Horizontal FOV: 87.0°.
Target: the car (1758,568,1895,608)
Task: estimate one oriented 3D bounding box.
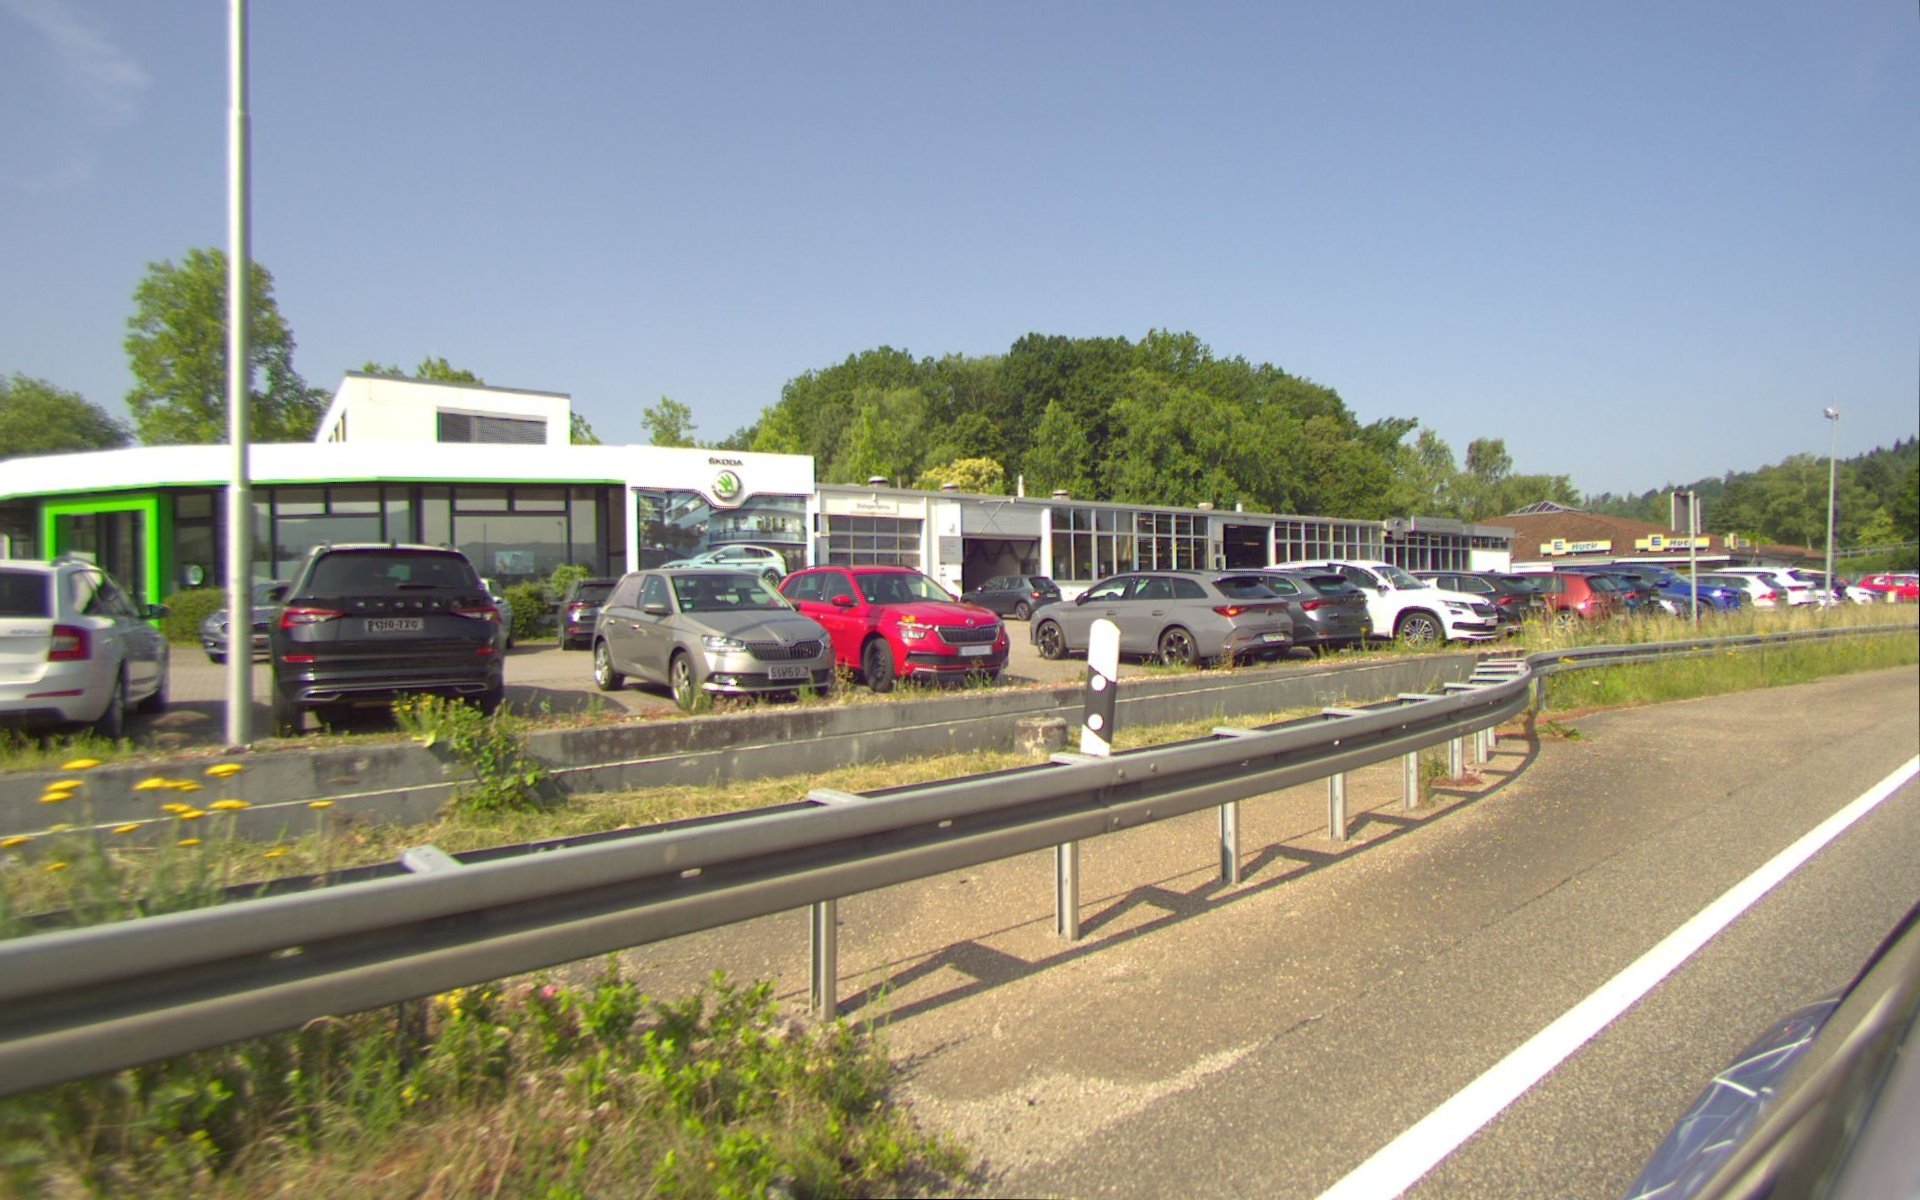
[{"bbox_3d":[35.787,-0.526,41.866,1.772,1.571,4.000,-1,2,-36],"label":"car"}]

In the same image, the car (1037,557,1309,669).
[{"bbox_3d":[3.138,0.148,15.471,1.715,1.477,3.844,-1,1,-41],"label":"car"}]

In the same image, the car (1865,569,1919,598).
[{"bbox_3d":[49.254,-0.872,52.201,1.771,1.482,3.549,-1,2,-36],"label":"car"}]

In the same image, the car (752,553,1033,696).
[{"bbox_3d":[-1.043,0.214,13.288,1.748,1.571,4.095,-1,1,-37],"label":"car"}]

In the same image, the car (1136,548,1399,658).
[{"bbox_3d":[5.118,0.019,17.316,1.885,1.652,3.999,-1,1,-36],"label":"car"}]

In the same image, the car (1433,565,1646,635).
[{"bbox_3d":[12.826,-0.027,22.561,1.790,1.424,3.740,-1,1,-38],"label":"car"}]

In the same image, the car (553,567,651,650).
[{"bbox_3d":[-7.799,0.103,21.799,1.753,1.584,4.731,0,1,-22],"label":"car"}]

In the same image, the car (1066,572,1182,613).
[{"bbox_3d":[6.171,-0.335,38.531,1.759,1.482,4.320,-1,2,-39],"label":"car"}]

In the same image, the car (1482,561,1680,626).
[{"bbox_3d":[15.001,-0.162,24.586,1.747,1.446,3.743,-1,1,-38],"label":"car"}]

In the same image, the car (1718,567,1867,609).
[{"bbox_3d":[33.077,-0.498,40.287,1.996,1.571,4.293,-1,2,-39],"label":"car"}]

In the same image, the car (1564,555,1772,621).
[{"bbox_3d":[19.478,-0.338,28.016,1.914,1.660,4.369,-1,1,-36],"label":"car"}]

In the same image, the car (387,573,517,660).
[{"bbox_3d":[-9.959,0.223,20.150,1.753,1.507,4.732,0,1,-20],"label":"car"}]

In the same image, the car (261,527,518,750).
[{"bbox_3d":[-5.604,0.244,9.796,1.804,1.684,3.893,-1,1,-33],"label":"car"}]

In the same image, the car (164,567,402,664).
[{"bbox_3d":[-12.192,0.194,18.620,1.755,1.584,4.361,0,1,-5],"label":"car"}]

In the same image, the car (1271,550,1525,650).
[{"bbox_3d":[8.057,-0.036,18.938,1.884,1.652,4.002,-1,1,-33],"label":"car"}]

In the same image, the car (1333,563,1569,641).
[{"bbox_3d":[10.098,0.008,21.052,1.915,1.470,3.997,-1,1,-38],"label":"car"}]

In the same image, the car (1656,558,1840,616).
[{"bbox_3d":[23.916,-0.418,30.853,1.844,1.637,4.060,-1,2,-34],"label":"car"}]

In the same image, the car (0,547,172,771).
[{"bbox_3d":[-7.797,0.364,8.353,1.689,1.504,4.051,-1,1,-33],"label":"car"}]

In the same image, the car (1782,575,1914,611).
[{"bbox_3d":[38.223,-0.328,43.639,1.842,1.482,4.000,-1,2,-36],"label":"car"}]

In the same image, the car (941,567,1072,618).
[{"bbox_3d":[1.508,-0.290,33.938,4.310,1.584,1.762,1,2,44],"label":"car"}]

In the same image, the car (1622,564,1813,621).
[{"bbox_3d":[21.656,-0.251,29.081,1.772,1.526,4.054,-1,2,-34],"label":"car"}]

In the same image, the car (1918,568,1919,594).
[{"bbox_3d":[56.720,-1.035,56.835,1.842,1.482,4.000,-1,2,-36],"label":"car"}]

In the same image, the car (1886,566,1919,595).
[{"bbox_3d":[51.579,-1.021,53.221,1.842,1.482,4.000,-1,2,-36],"label":"car"}]

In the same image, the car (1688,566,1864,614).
[{"bbox_3d":[27.891,-0.377,34.709,1.844,1.513,4.364,-1,2,-35],"label":"car"}]

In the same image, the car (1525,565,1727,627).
[{"bbox_3d":[17.156,-0.122,26.224,1.915,1.470,3.997,-1,1,-38],"label":"car"}]

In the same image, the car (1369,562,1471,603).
[{"bbox_3d":[22.813,-0.874,50.292,1.758,1.948,4.322,-1,2,-37],"label":"car"}]

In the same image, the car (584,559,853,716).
[{"bbox_3d":[-2.874,0.308,11.494,1.634,1.477,3.742,-1,1,-37],"label":"car"}]
